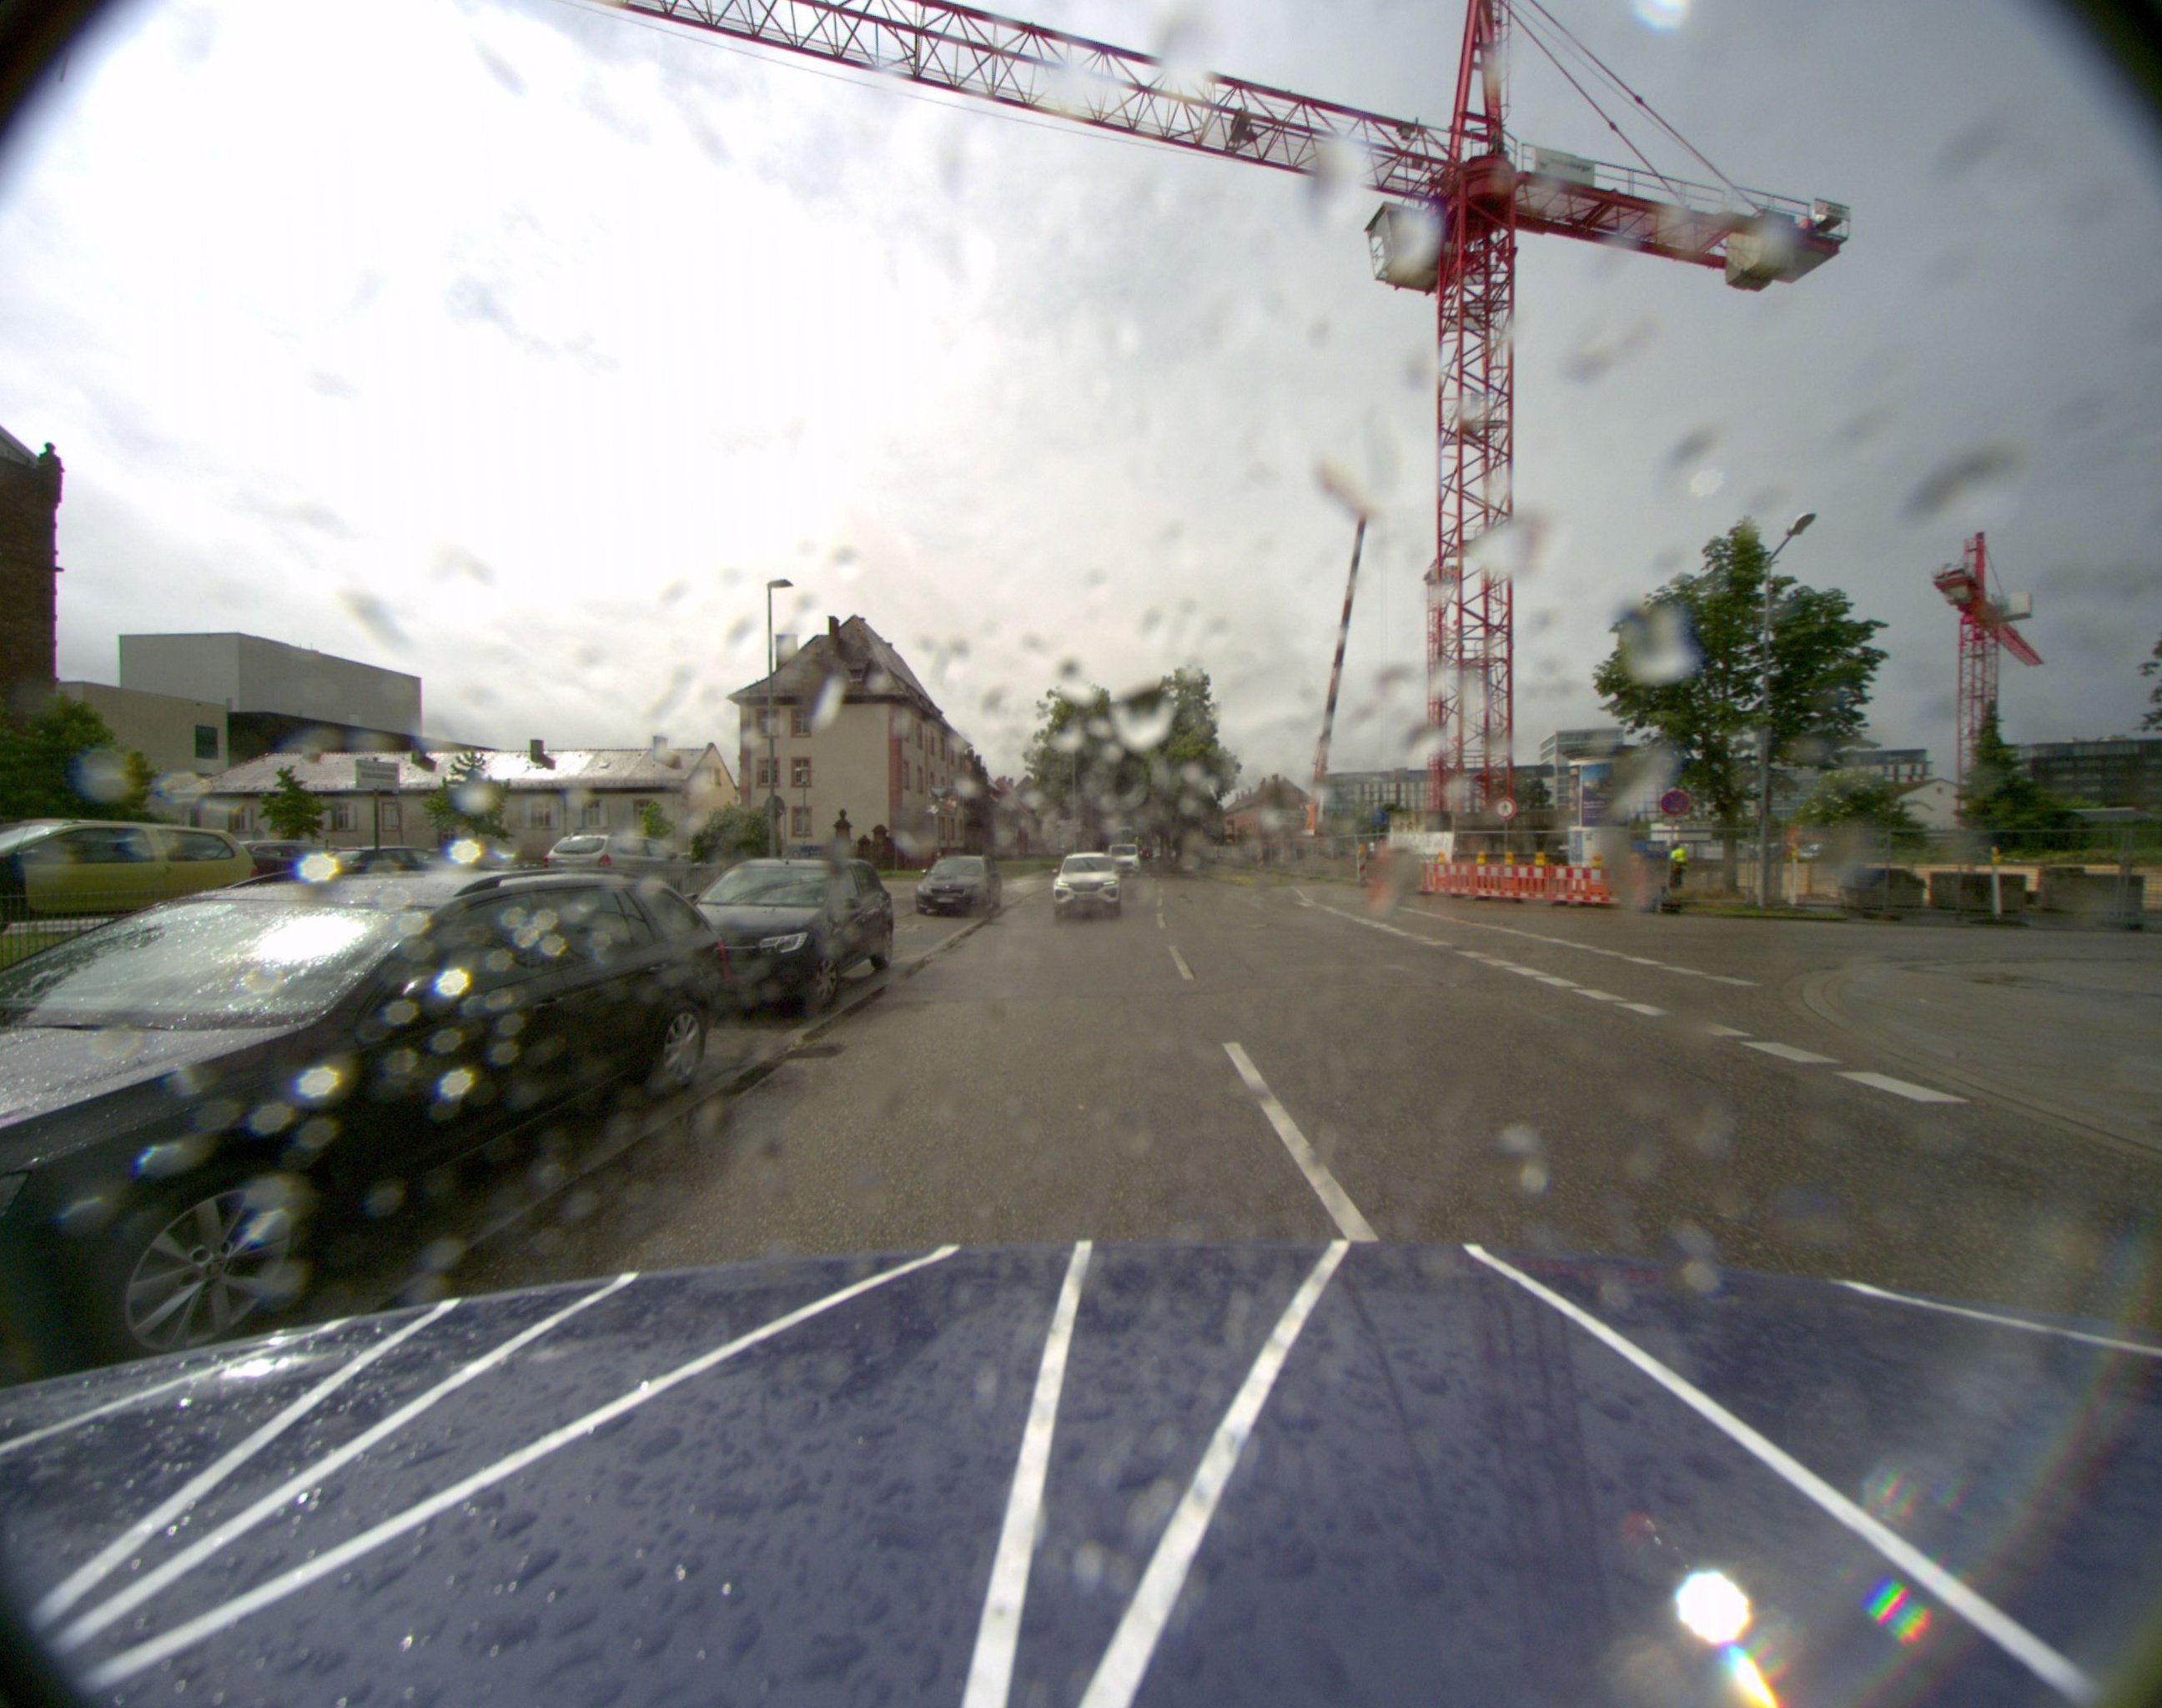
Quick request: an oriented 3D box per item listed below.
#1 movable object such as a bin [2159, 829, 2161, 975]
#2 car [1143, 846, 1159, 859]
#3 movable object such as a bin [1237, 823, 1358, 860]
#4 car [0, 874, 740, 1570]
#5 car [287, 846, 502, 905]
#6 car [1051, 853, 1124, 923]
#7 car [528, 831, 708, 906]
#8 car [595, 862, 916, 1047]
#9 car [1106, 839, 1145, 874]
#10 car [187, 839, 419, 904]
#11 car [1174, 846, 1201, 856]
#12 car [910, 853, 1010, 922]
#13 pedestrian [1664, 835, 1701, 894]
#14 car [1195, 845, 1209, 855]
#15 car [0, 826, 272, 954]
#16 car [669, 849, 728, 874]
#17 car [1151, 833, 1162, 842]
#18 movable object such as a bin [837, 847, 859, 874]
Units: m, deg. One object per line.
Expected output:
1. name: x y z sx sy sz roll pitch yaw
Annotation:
1. movable object such as a bin: 13.922 0.593 8.591 1.539 1.813 1.265 1 0 22
2. car: 9.158 -0.155 99.513 1.845 1.598 4.001 -2 0 4
3. movable object such as a bin: 30.168 -1.720 106.653 15.938 4.533 3.102 -2 2 6
4. car: -3.422 0.962 3.668 1.608 1.499 4.159 2 1 1
5. car: -19.430 0.528 21.837 1.832 1.518 4.425 0 1 8
6. car: 0.247 0.764 19.178 1.608 1.499 4.000 -2 1 3
7. car: -11.800 0.317 19.758 1.807 1.740 4.239 0 1 5
8. car: -3.314 0.916 8.702 1.761 1.519 4.000 -1 1 3
9. car: 2.687 0.132 47.443 2.107 1.990 5.434 -2 0 1
10. car: -22.214 0.438 22.000 1.856 1.669 4.426 1 1 9
11. car: 16.974 -0.485 120.708 3.862 1.543 1.700 -2 2 27
12. car: -3.078 0.789 20.202 1.778 1.531 4.378 2 1 2
13. pedestrian: 16.781 0.292 21.200 0.619 1.610 0.550 1 1 18
14. car: 20.093 -0.670 126.255 1.693 1.521 3.999 -2 1 1
15. car: -12.905 0.391 9.568 1.614 1.440 3.418 0 1 6
16. car: -23.374 0.428 46.545 1.598 1.438 3.575 1 0 4
17. car: 13.253 -2.917 133.924 1.817 1.531 3.983 2 0 5
18. movable object such as a bin: -12.570 0.349 40.993 0.801 1.449 1.097 1 1 4
